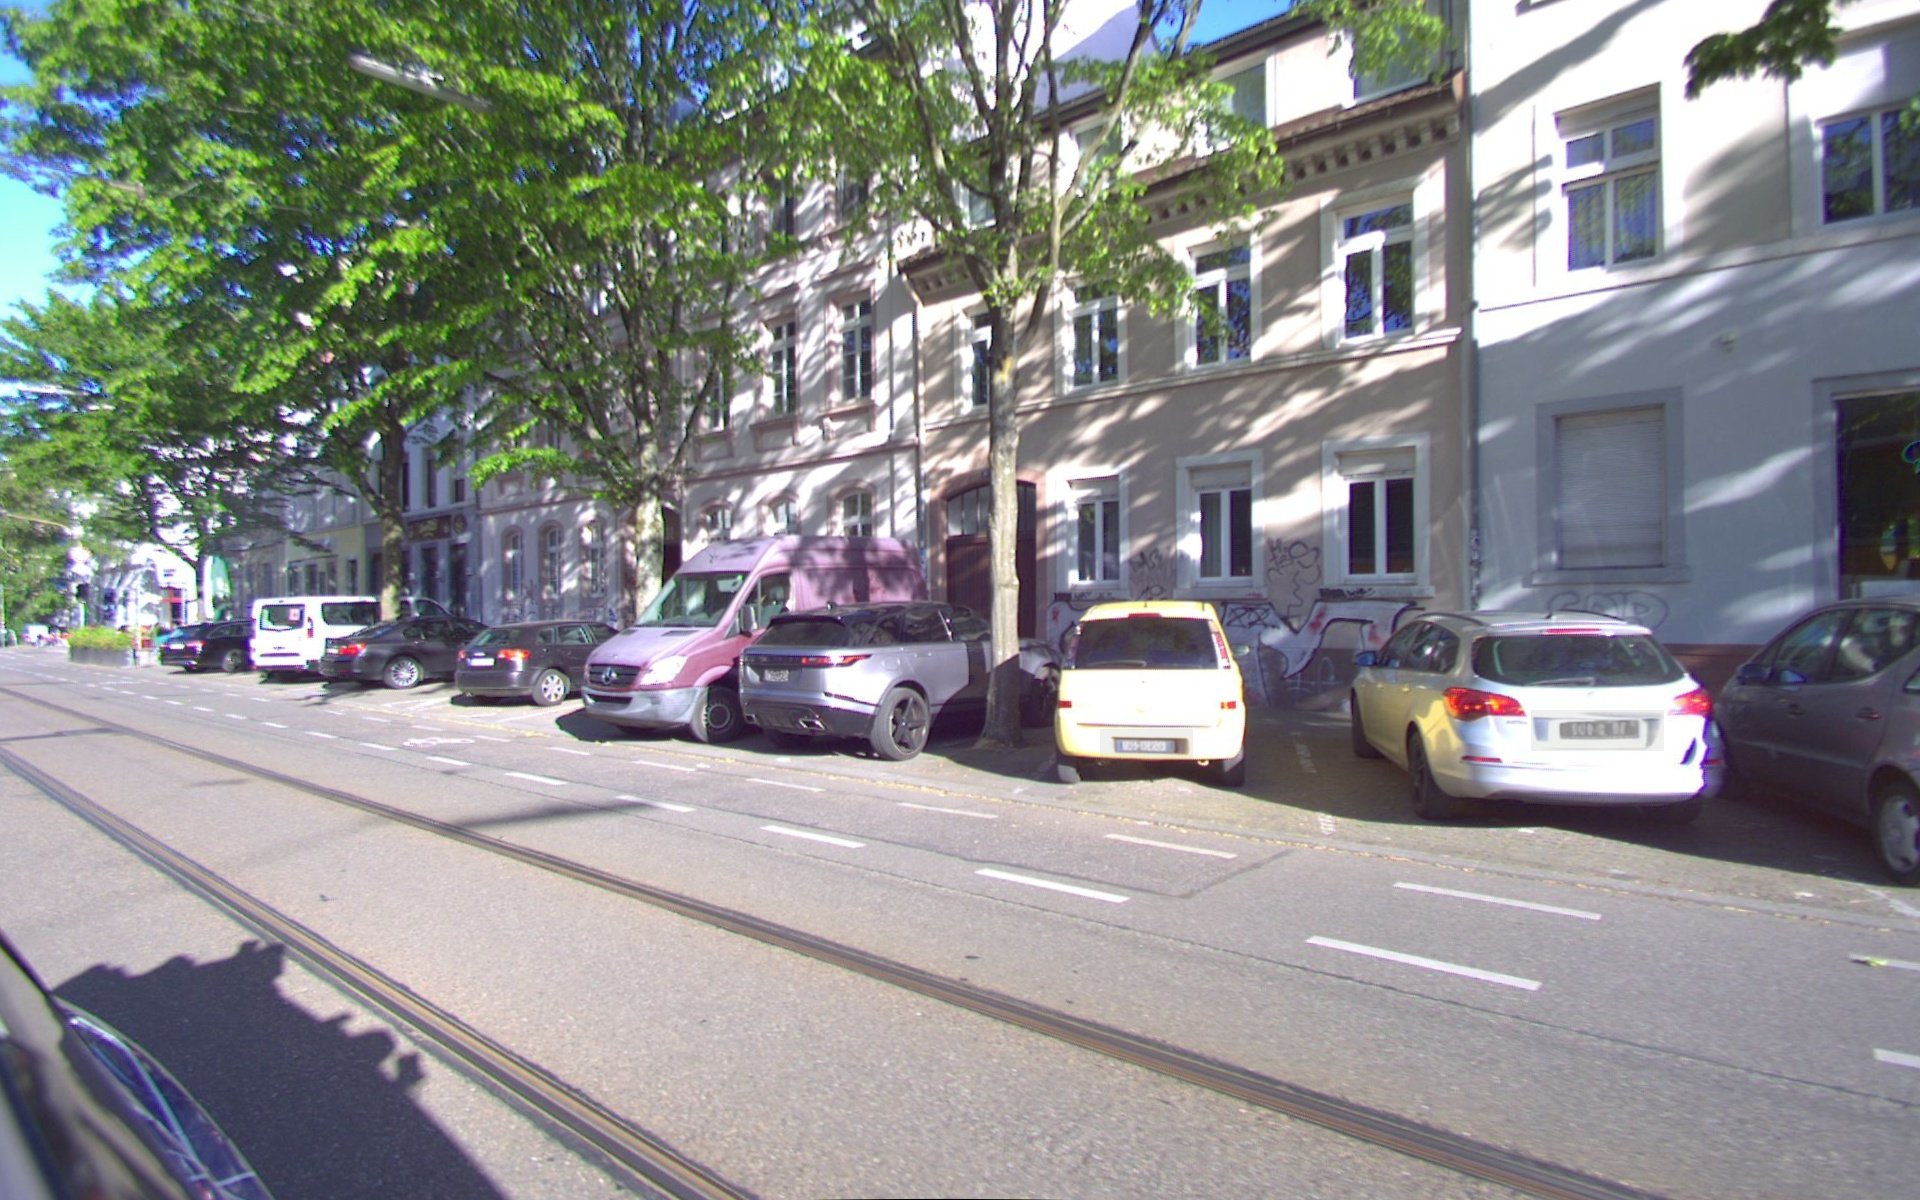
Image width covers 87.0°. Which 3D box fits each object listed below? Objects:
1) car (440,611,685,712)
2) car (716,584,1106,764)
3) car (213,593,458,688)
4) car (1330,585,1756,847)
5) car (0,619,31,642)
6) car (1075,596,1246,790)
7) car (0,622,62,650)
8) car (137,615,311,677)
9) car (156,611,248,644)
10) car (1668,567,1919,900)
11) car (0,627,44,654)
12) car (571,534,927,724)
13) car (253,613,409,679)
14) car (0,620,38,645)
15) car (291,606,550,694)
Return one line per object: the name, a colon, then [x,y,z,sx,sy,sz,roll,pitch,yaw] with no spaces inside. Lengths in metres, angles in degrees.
car: [-6.950,1.003,18.172,1.661,1.464,4.065,-1,1,25]
car: [-0.361,0.722,12.352,2.161,1.737,4.782,-1,-1,38]
car: [-14.760,0.903,24.315,2.057,2.029,4.913,-1,-1,17]
car: [4.289,0.741,8.258,1.684,1.564,4.157,-1,-1,11]
car: [-62.230,1.979,65.307,1.496,1.465,3.293,-2,-1,42]
car: [2.084,0.762,10.020,1.372,1.564,3.358,-1,0,15]
car: [-54.369,2.092,58.766,3.289,1.464,1.498,-2,2,-43]
car: [-21.310,1.291,29.527,1.762,1.569,3.987,-1,1,10]
car: [-41.832,1.519,55.898,3.937,1.763,2.003,1,-2,-41]
car: [6.303,0.644,6.651,1.690,1.689,3.973,-1,0,20]
car: [-58.249,2.489,61.807,1.496,1.464,3.294,0,2,42]
car: [-2.692,0.321,13.798,2.161,2.134,4.394,-1,0,38]
car: [-16.664,1.191,26.982,1.484,1.464,3.320,-3,1,18]
car: [-60.371,2.096,63.716,1.496,1.464,3.293,1,2,42]
car: [-11.778,1.024,22.399,1.950,1.588,4.653,-2,0,36]
